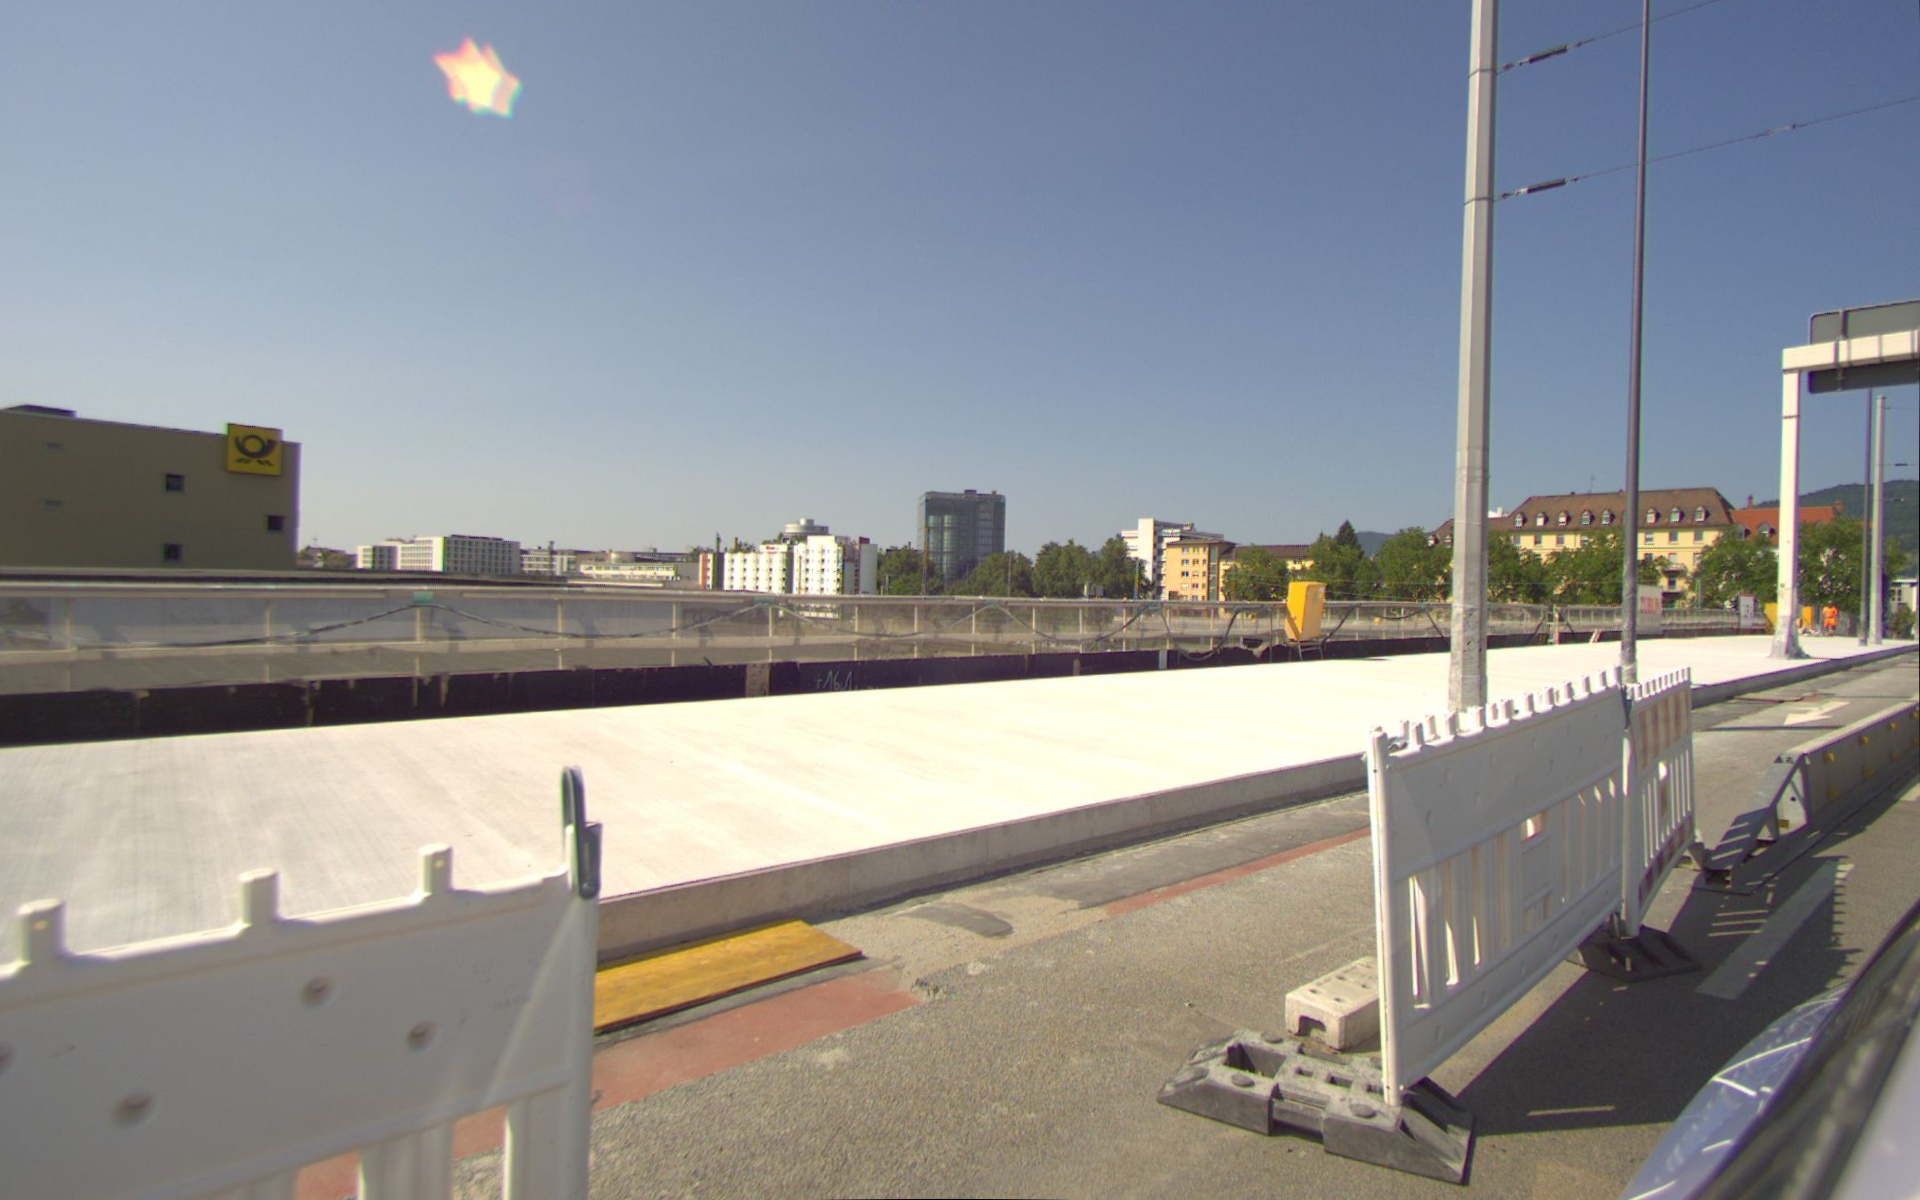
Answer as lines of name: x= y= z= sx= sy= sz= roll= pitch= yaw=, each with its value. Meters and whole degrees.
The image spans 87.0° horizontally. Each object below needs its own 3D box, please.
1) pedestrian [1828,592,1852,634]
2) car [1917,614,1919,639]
pedestrian: x=43.402 y=0.641 z=49.909 sx=0.999 sy=1.989 sz=0.732 roll=2 pitch=1 yaw=-43
car: x=87.761 y=2.457 z=91.083 sx=6.358 sy=2.117 sz=1.936 roll=3 pitch=-1 yaw=-42
